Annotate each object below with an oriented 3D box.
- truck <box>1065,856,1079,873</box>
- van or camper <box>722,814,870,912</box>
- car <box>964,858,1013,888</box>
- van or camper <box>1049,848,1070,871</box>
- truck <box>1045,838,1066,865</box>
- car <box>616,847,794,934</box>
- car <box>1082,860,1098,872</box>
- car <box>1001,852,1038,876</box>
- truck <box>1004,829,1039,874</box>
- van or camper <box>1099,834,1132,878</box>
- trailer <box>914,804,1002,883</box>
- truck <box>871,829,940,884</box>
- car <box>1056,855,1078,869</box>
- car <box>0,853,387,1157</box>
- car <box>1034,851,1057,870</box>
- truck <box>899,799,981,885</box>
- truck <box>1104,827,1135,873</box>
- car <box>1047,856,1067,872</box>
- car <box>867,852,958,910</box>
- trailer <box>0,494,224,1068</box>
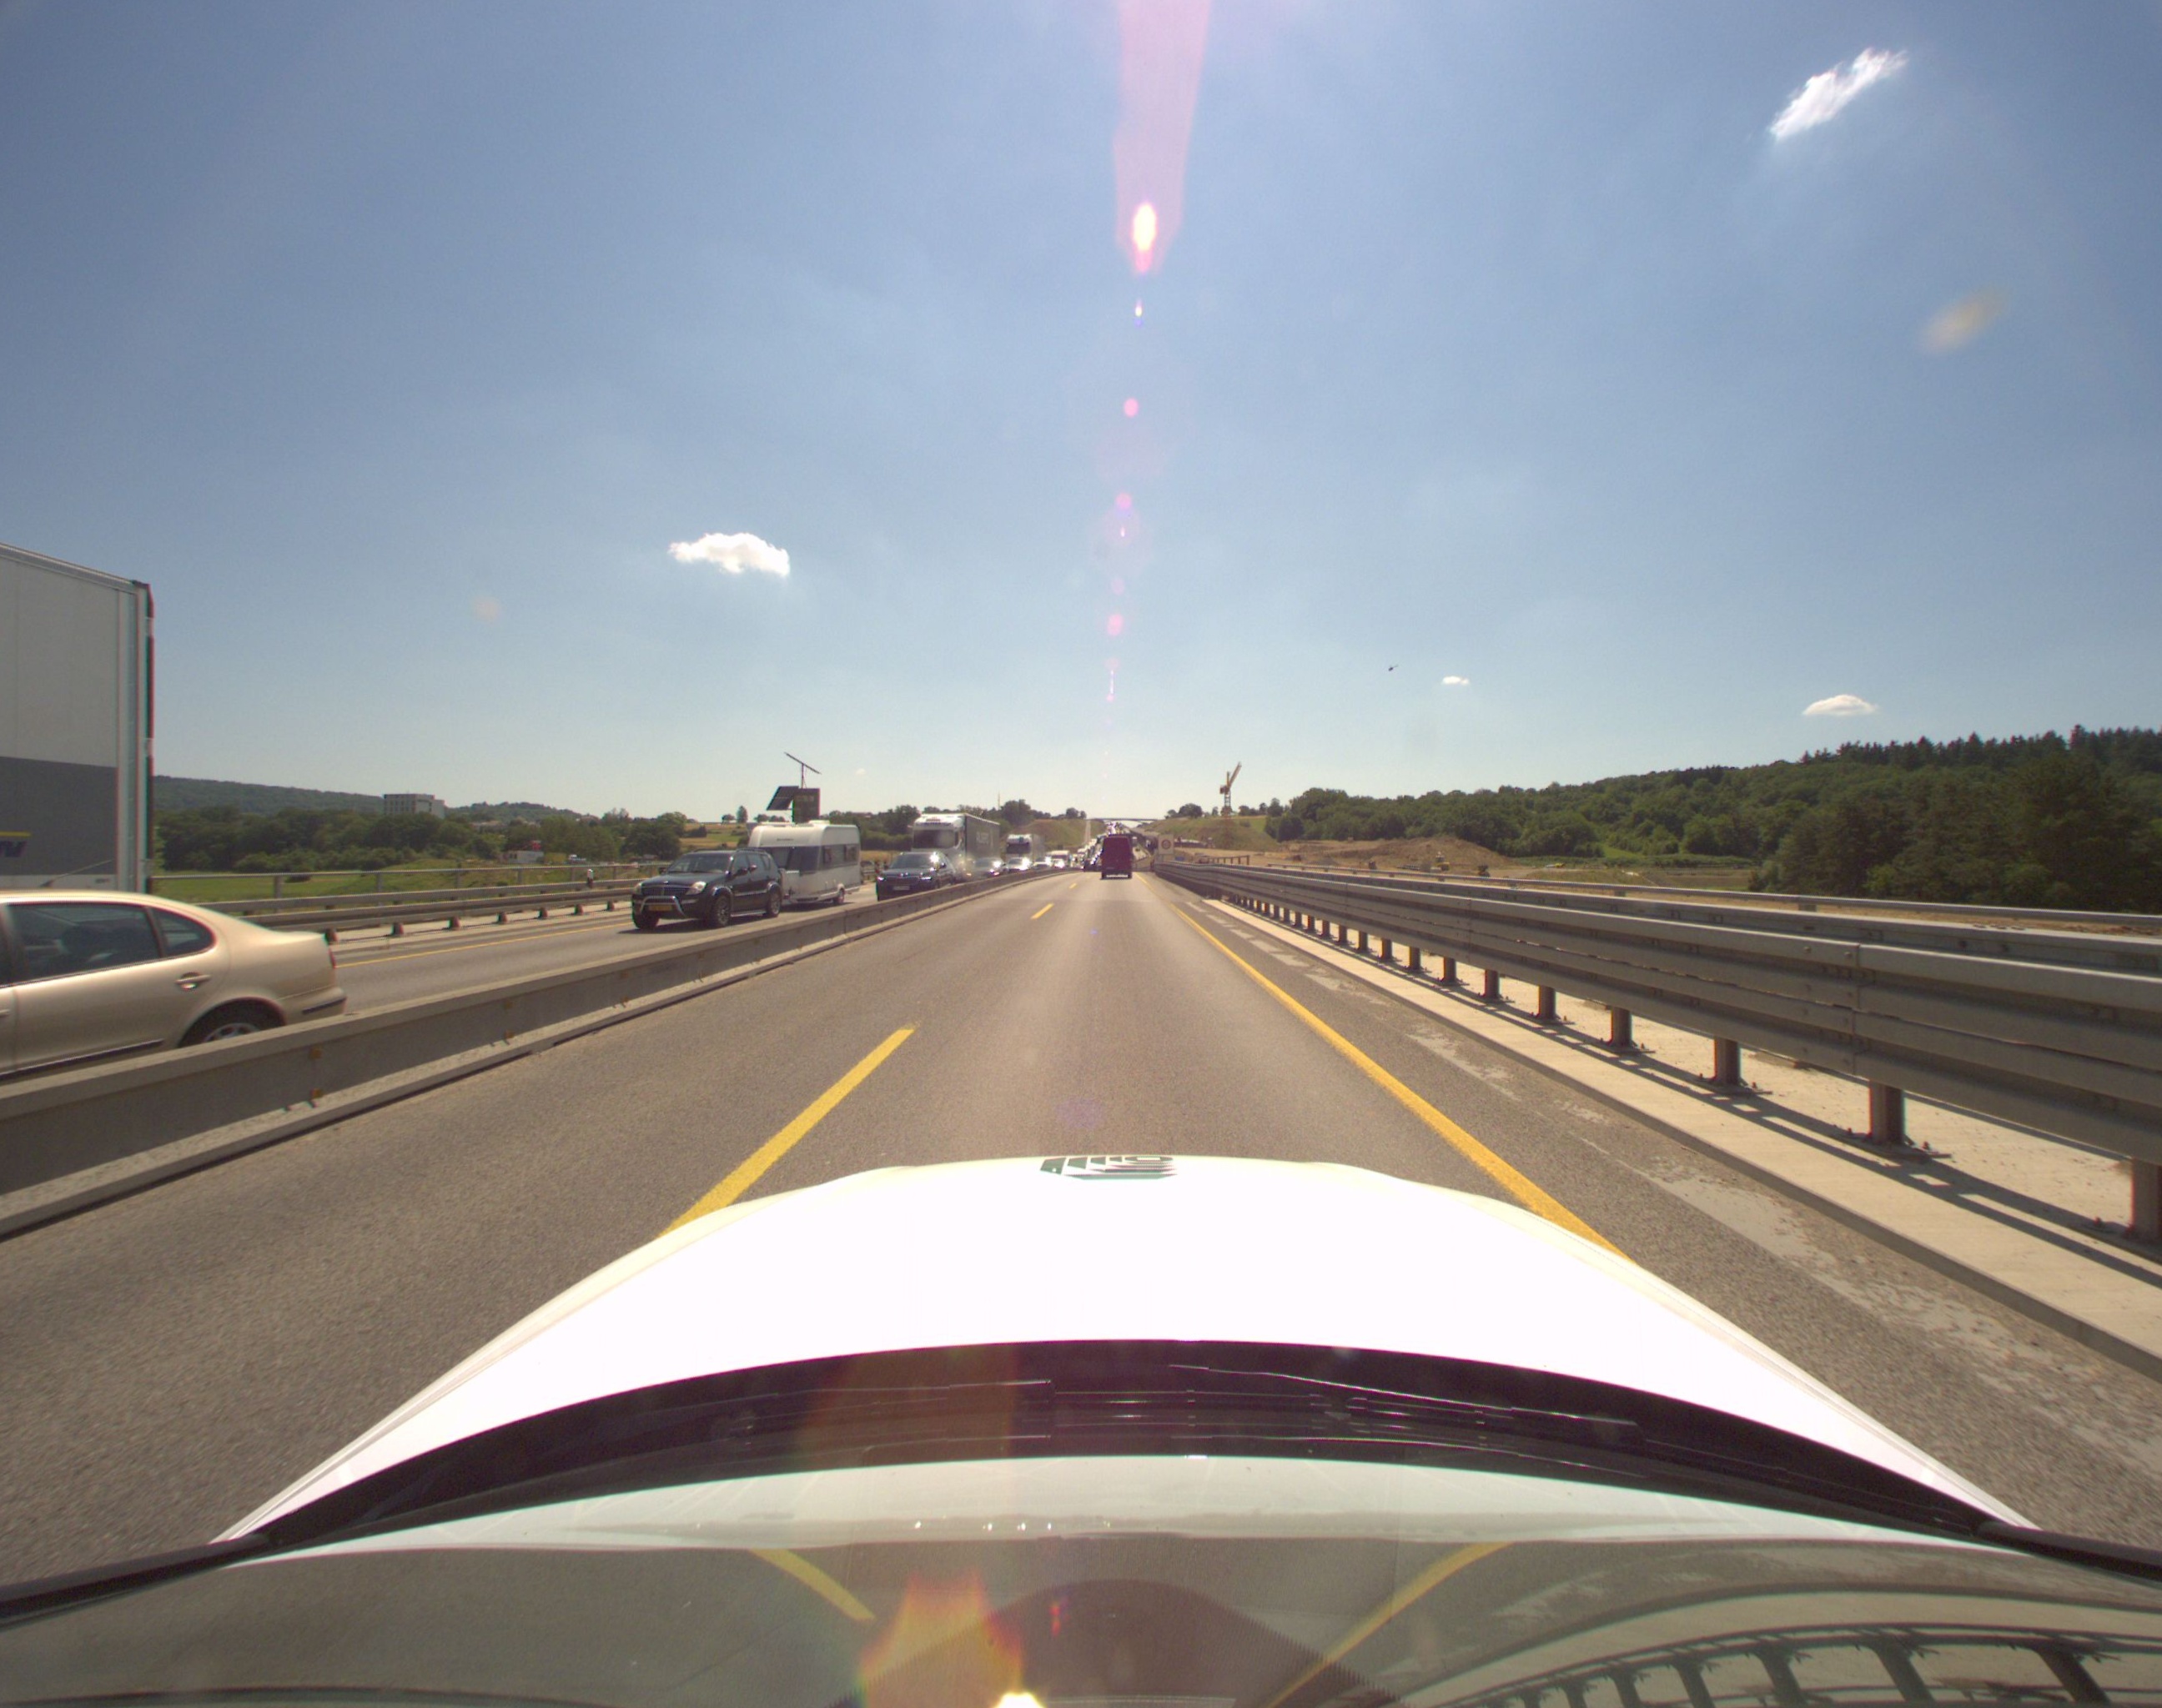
[{"bbox_3d":[-2.233,2.534,195.568,2.970,4.185,5.867,0,-1,-3],"label":"truck"},{"bbox_3d":[-8.602,0.247,25.267,2.493,2.698,5.247,-1,0,3],"label":"van or camper"},{"bbox_3d":[-4.706,0.918,42.152,1.770,1.420,4.541,1,0,3],"label":"car"},{"bbox_3d":[-2.405,0.581,91.889,2.213,2.511,6.528,0,0,-2],"label":"van or camper"},{"bbox_3d":[-4.082,-0.338,132.861,2.792,4.152,10.081,0,0,1],"label":"truck"},{"bbox_3d":[-8.583,0.751,19.139,1.760,1.734,4.793,-1,0,2],"label":"car"},{"bbox_3d":[1.179,1.526,103.996,2.005,1.545,4.132,0,0,1],"label":"car"},{"bbox_3d":[-4.088,0.644,54.729,1.858,1.459,4.610,1,0,3],"label":"car"},{"bbox_3d":[-6.044,-0.210,83.161,2.795,4.392,6.229,-1,0,3],"label":"truck"},{"bbox_3d":[2.188,0.123,52.734,2.022,2.744,4.515,0,0,0],"label":"van or camper"},{"bbox_3d":[-7.673,-0.577,53.284,3.089,4.465,13.028,-1,0,3],"label":"trailer"},{"bbox_3d":[-12.685,0.140,59.665,2.892,3.765,8.373,0,0,3],"label":"truck"},{"bbox_3d":[-1.730,1.013,104.640,2.362,1.726,5.785,1,0,2],"label":"car"},{"bbox_3d":[-6.203,0.783,4.047,1.896,1.461,4.191,-3,0,-2],"label":"car"},{"bbox_3d":[-3.183,0.549,73.285,1.750,1.646,4.157,1,0,2],"label":"car"},{"bbox_3d":[-7.917,-0.646,46.759,3.065,4.537,7.108,-1,0,3],"label":"truck"},{"bbox_3d":[4.163,-0.398,89.718,3.011,4.693,6.932,-2,0,0],"label":"truck"},{"bbox_3d":[-2.462,0.972,82.795,1.988,1.498,4.971,1,0,-2],"label":"car"},{"bbox_3d":[-5.311,0.797,26.278,1.840,1.688,4.620,1,0,1],"label":"car"},{"bbox_3d":[-9.365,-0.493,1.525,2.796,4.176,11.802,0,0,1],"label":"trailer"}]
